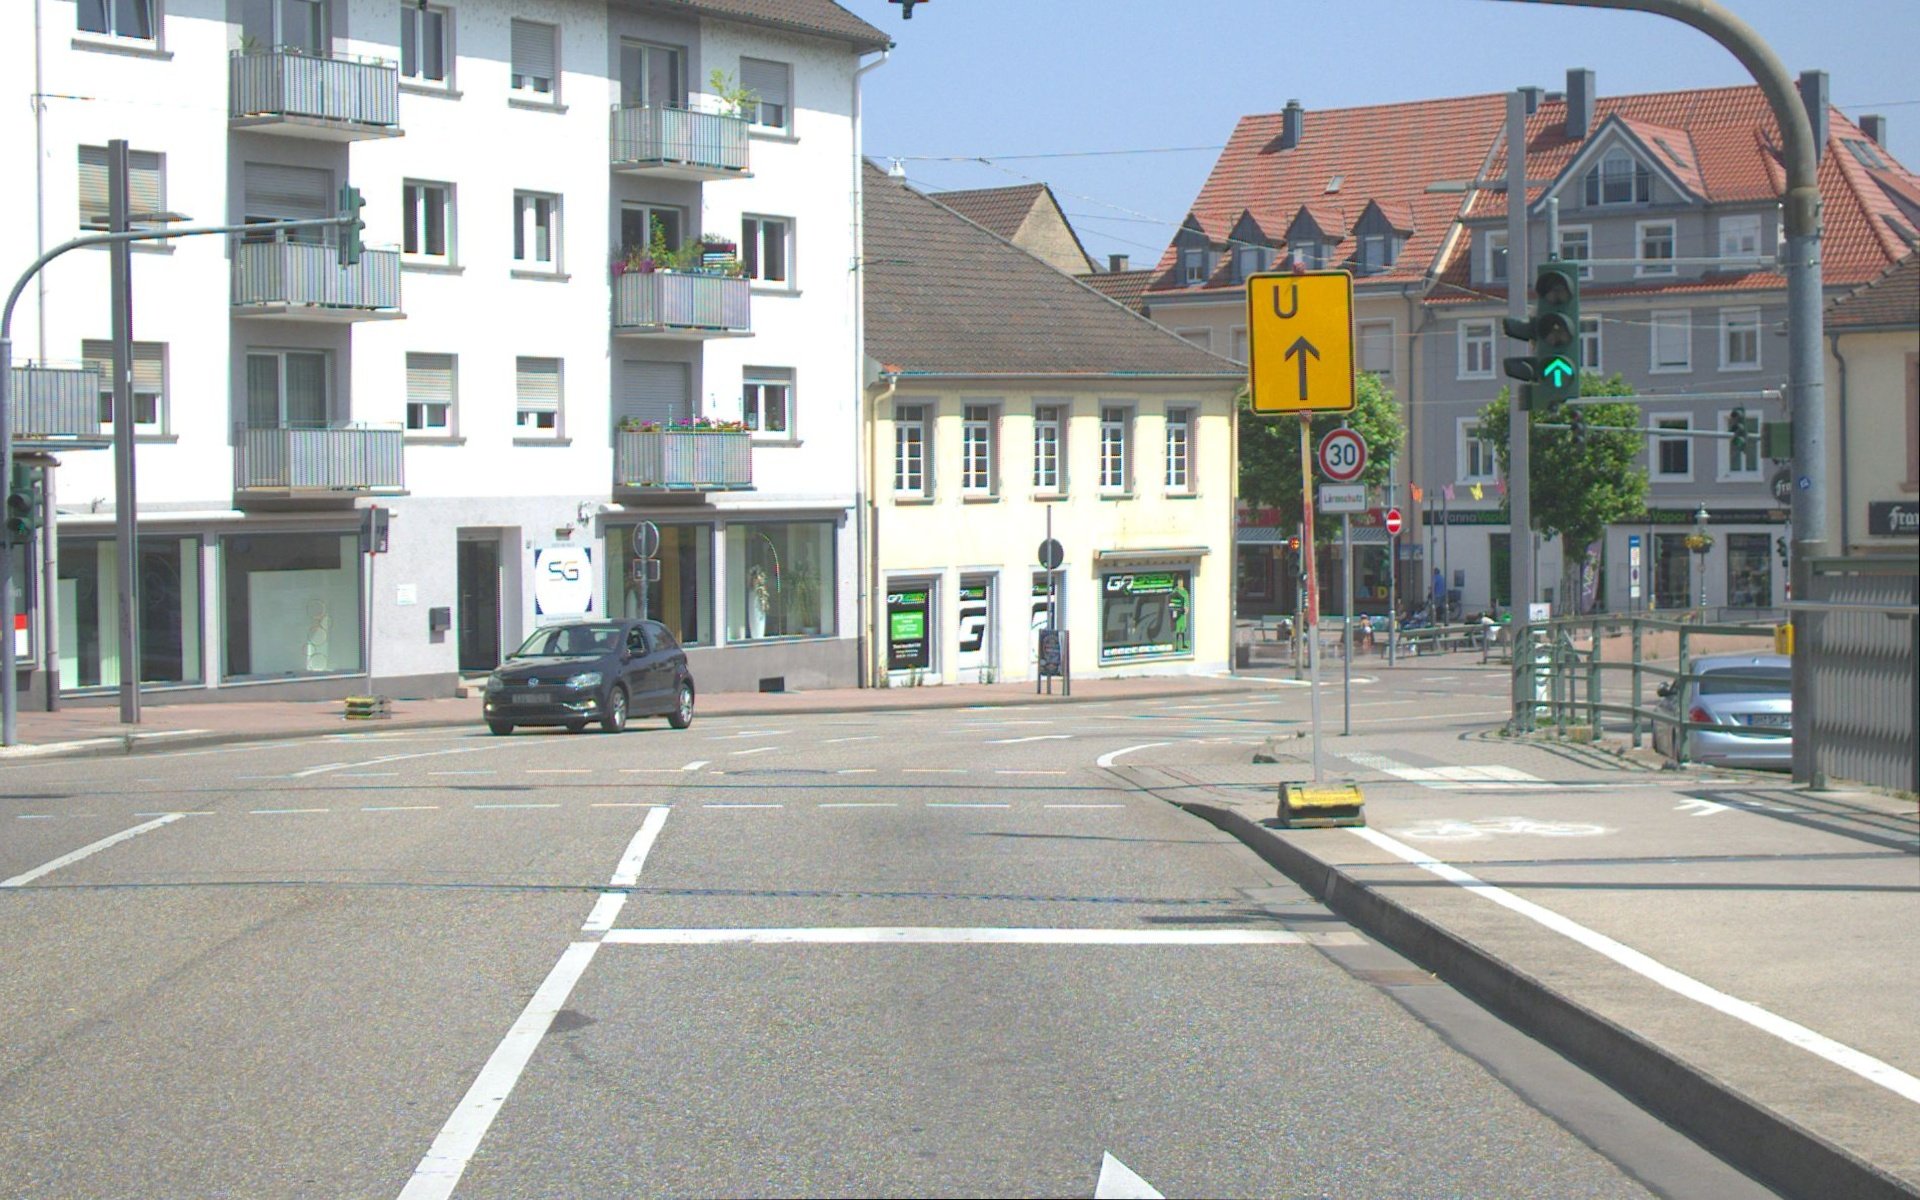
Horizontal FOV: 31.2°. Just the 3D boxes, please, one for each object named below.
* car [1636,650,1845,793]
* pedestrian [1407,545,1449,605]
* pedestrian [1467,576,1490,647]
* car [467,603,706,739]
[{"bbox_3d":[8.965,1.359,39.779,1.752,1.466,4.252,1,0,5],"label":"car"},{"bbox_3d":[15.675,-0.831,115.159,1.032,1.974,1.018,2,2,33],"label":"pedestrian"},{"bbox_3d":[14.908,0.334,98.892,0.610,2.007,0.554,1,1,11],"label":"pedestrian"},{"bbox_3d":[-4.594,0.851,42.865,1.677,1.483,3.952,-2,1,13],"label":"car"}]
